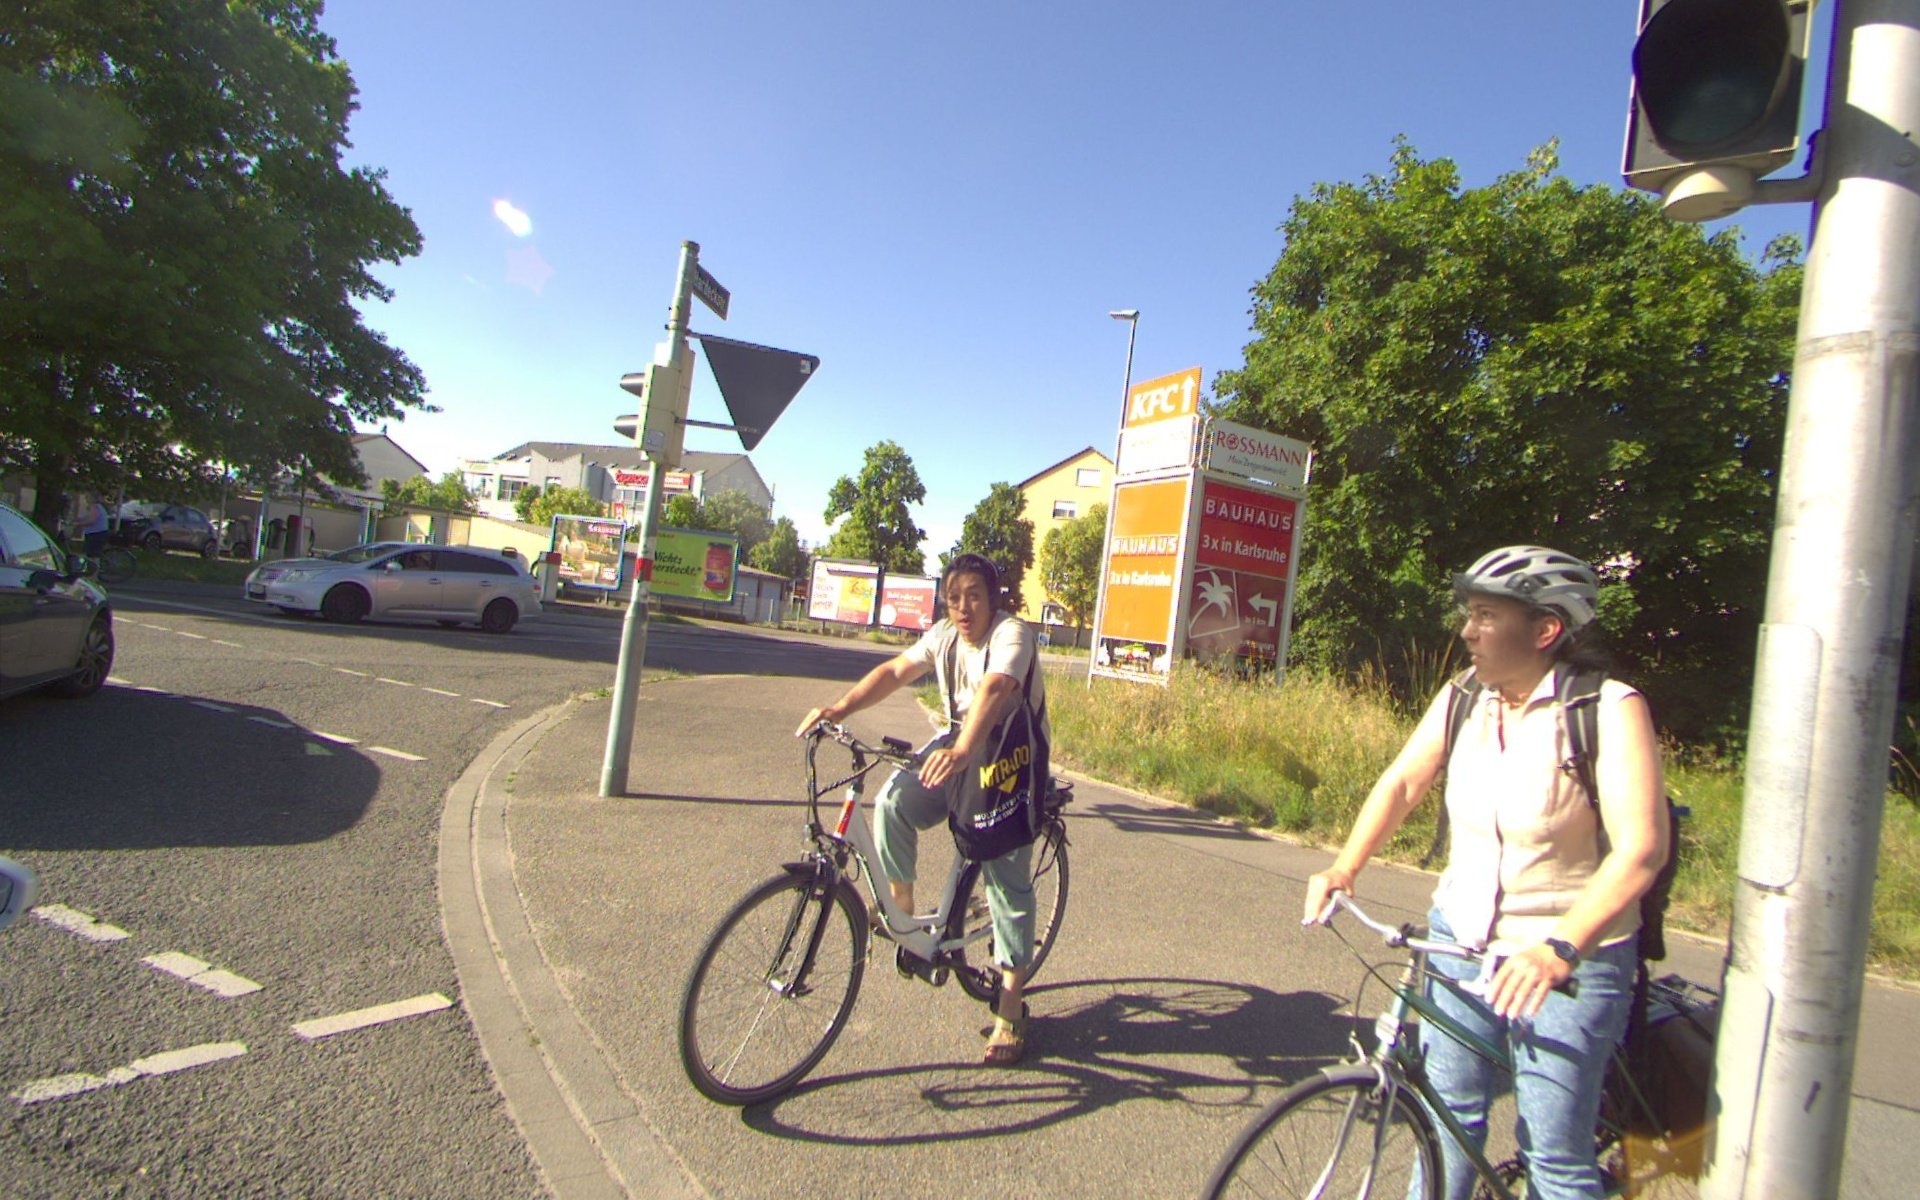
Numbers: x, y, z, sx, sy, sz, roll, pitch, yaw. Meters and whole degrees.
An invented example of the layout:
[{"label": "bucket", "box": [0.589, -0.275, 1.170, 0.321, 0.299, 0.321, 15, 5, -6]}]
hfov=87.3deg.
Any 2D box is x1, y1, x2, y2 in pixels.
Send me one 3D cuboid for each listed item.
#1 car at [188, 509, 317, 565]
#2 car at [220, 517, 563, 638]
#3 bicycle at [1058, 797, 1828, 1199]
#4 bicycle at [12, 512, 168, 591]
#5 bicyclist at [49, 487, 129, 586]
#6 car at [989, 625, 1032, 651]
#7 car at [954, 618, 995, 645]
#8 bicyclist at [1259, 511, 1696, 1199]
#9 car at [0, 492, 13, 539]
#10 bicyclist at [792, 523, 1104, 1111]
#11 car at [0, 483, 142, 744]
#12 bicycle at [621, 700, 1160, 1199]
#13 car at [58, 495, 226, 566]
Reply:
[{"label": "car", "box": [-30.097, -2.636, 42.940, 1.963, 1.624, 4.006, 6, -3, 19]}, {"label": "car", "box": [-9.696, -0.304, 17.632, 1.812, 1.506, 4.880, 5, -2, 32]}, {"label": "bicycle", "box": [1.119, 1.049, 2.165, 1.848, 1.090, 0.527, 4, 0, -30]}, {"label": "bicycle", "box": [-15.737, -0.848, 18.263, 0.519, 1.155, 2.024, 6, -1, 26]}, {"label": "bicyclist", "box": [-15.732, -1.141, 18.184, 0.533, 1.661, 0.829, 6, 0, 26]}, {"label": "car", "box": [3.449, 2.576, 67.868, 1.702, 1.482, 3.882, 6, -1, 19]}, {"label": "car", "box": [1.059, 2.217, 69.465, 1.671, 1.642, 3.882, 6, 0, 17]}, {"label": "bicyclist", "box": [1.069, 0.719, 2.125, 0.579, 1.718, 0.523, 3, 0, -30]}, {"label": "car", "box": [-32.962, -3.041, 31.913, 1.503, 1.528, 4.008, 7, -3, 10]}, {"label": "bicyclist", "box": [-0.025, 0.627, 3.307, 0.536, 1.656, 0.803, 3, 0, 44]}, {"label": "car", "box": [-6.430, -0.037, 5.763, 1.748, 1.508, 4.261, 8, -1, -28]}, {"label": "bicycle", "box": [-0.098, 0.934, 3.281, 0.524, 1.090, 1.857, 3, 1, 44]}, {"label": "car", "box": [-24.135, -2.001, 29.889, 1.728, 1.391, 4.003, 7, -3, -3]}]
